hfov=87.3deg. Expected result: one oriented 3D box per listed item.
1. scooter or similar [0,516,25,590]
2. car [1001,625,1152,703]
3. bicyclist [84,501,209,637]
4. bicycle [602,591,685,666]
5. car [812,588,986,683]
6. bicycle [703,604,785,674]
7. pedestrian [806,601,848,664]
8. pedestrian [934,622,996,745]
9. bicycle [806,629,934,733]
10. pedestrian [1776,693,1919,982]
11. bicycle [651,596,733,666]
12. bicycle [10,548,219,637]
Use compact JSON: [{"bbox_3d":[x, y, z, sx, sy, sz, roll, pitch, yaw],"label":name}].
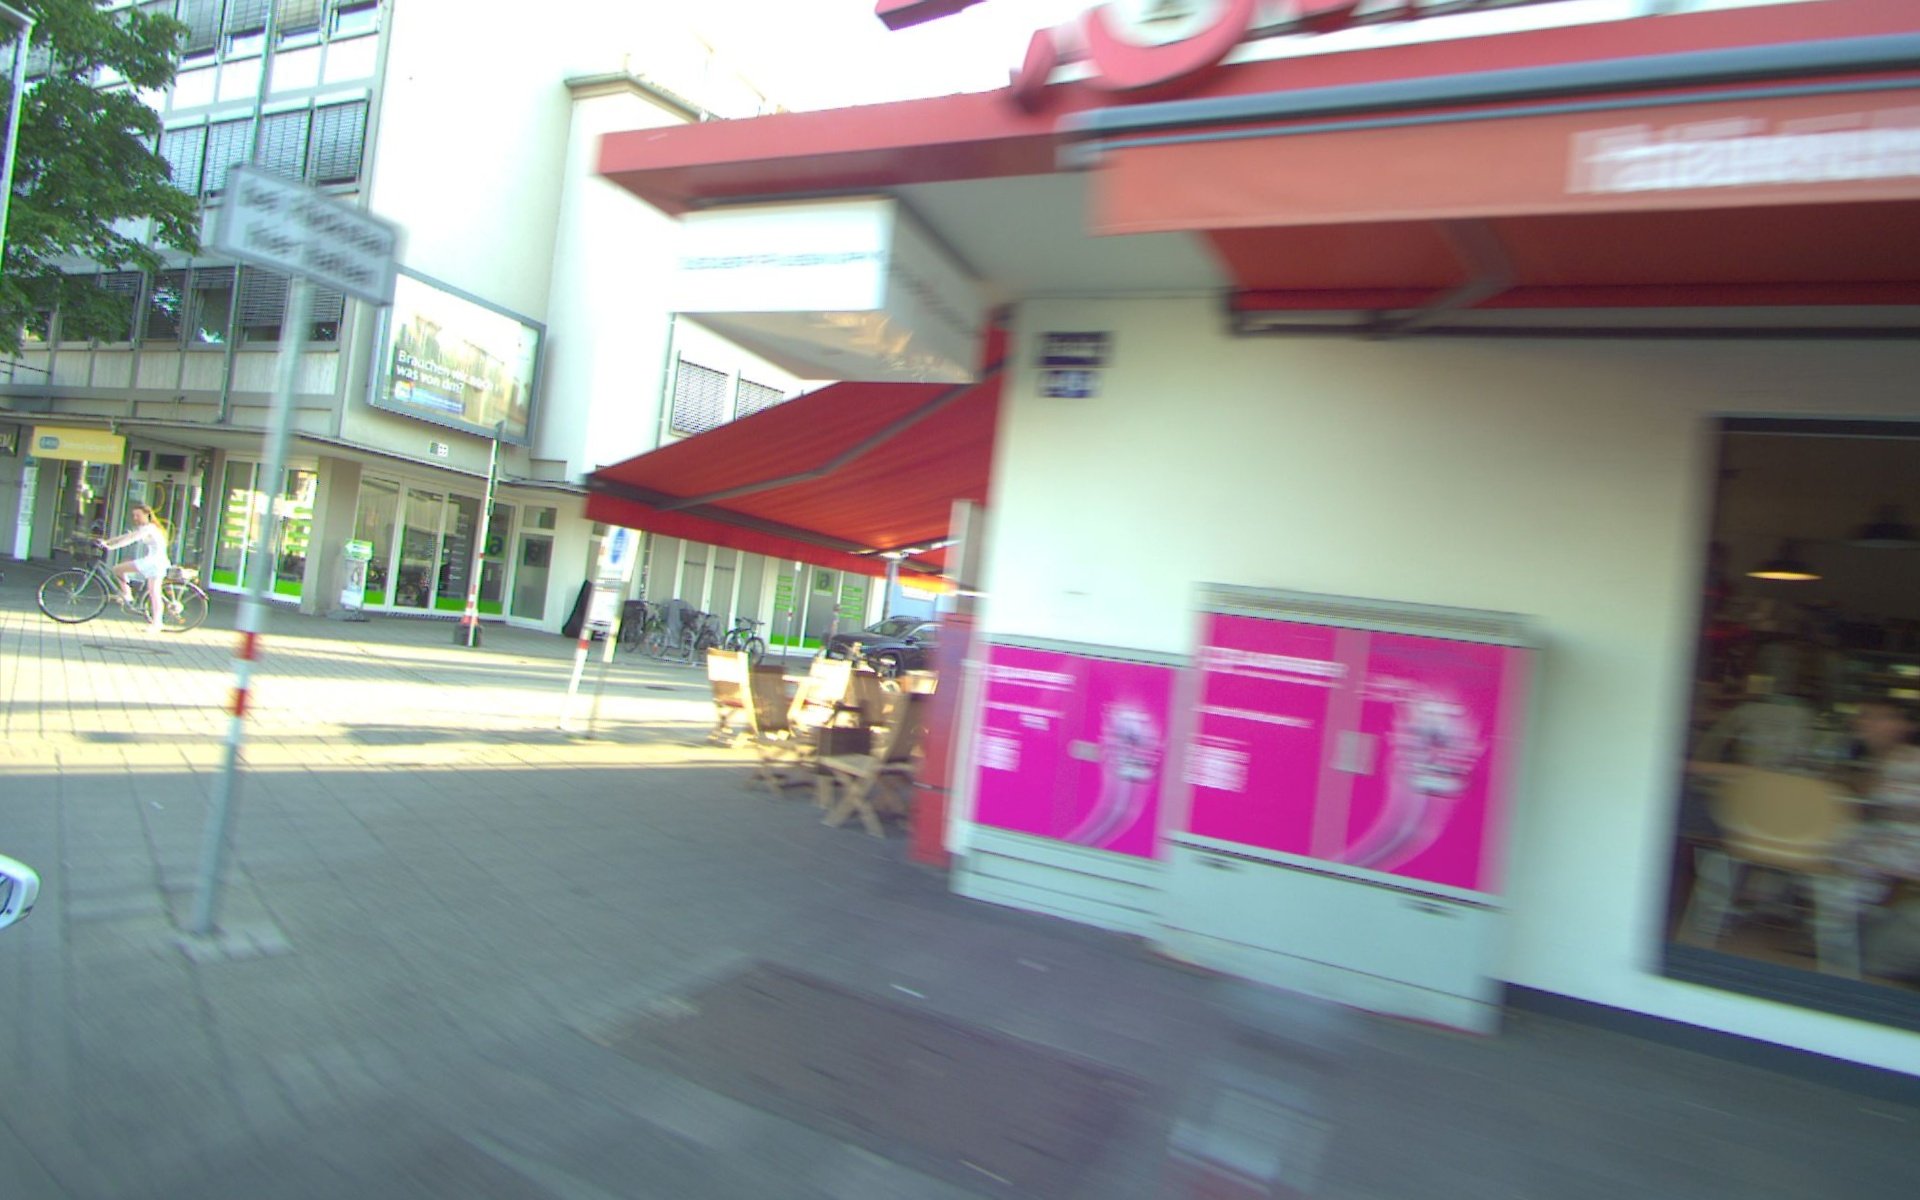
[{"bbox_3d":[-17.114,-0.882,17.379,1.262,1.250,0.336,8,-1,-25],"label":"scooter or similar"},{"bbox_3d":[3.547,1.946,30.212,4.403,1.771,1.872,9,0,-41],"label":"car"},{"bbox_3d":[-10.881,-0.399,13.462,1.108,1.641,0.831,8,-2,-42],"label":"bicyclist"},{"bbox_3d":[-6.699,0.582,21.218,0.700,1.235,2.086,8,1,-43],"label":"bicycle"},{"bbox_3d":[-1.483,0.934,25.400,1.868,1.771,3.981,12,2,44],"label":"car"},{"bbox_3d":[-4.909,0.868,22.741,0.700,1.235,2.086,8,1,-43],"label":"bicycle"},{"bbox_3d":[-3.498,0.861,26.440,0.596,1.544,0.668,8,1,-45],"label":"pedestrian"},{"bbox_3d":[0.074,1.123,13.660,0.563,1.560,0.573,7,-1,12],"label":"pedestrian"},{"bbox_3d":[-1.241,1.172,14.453,0.692,1.302,2.112,7,-1,27],"label":"bicycle"},{"bbox_3d":[4.367,1.098,4.743,0.495,1.231,0.523,7,0,7],"label":"pedestrian"},{"bbox_3d":[-5.865,0.651,21.949,0.700,1.235,2.087,8,0,-43],"label":"bicycle"},{"bbox_3d":[-11.112,-0.082,13.286,2.000,0.891,0.830,9,-2,-43],"label":"bicycle"}]
